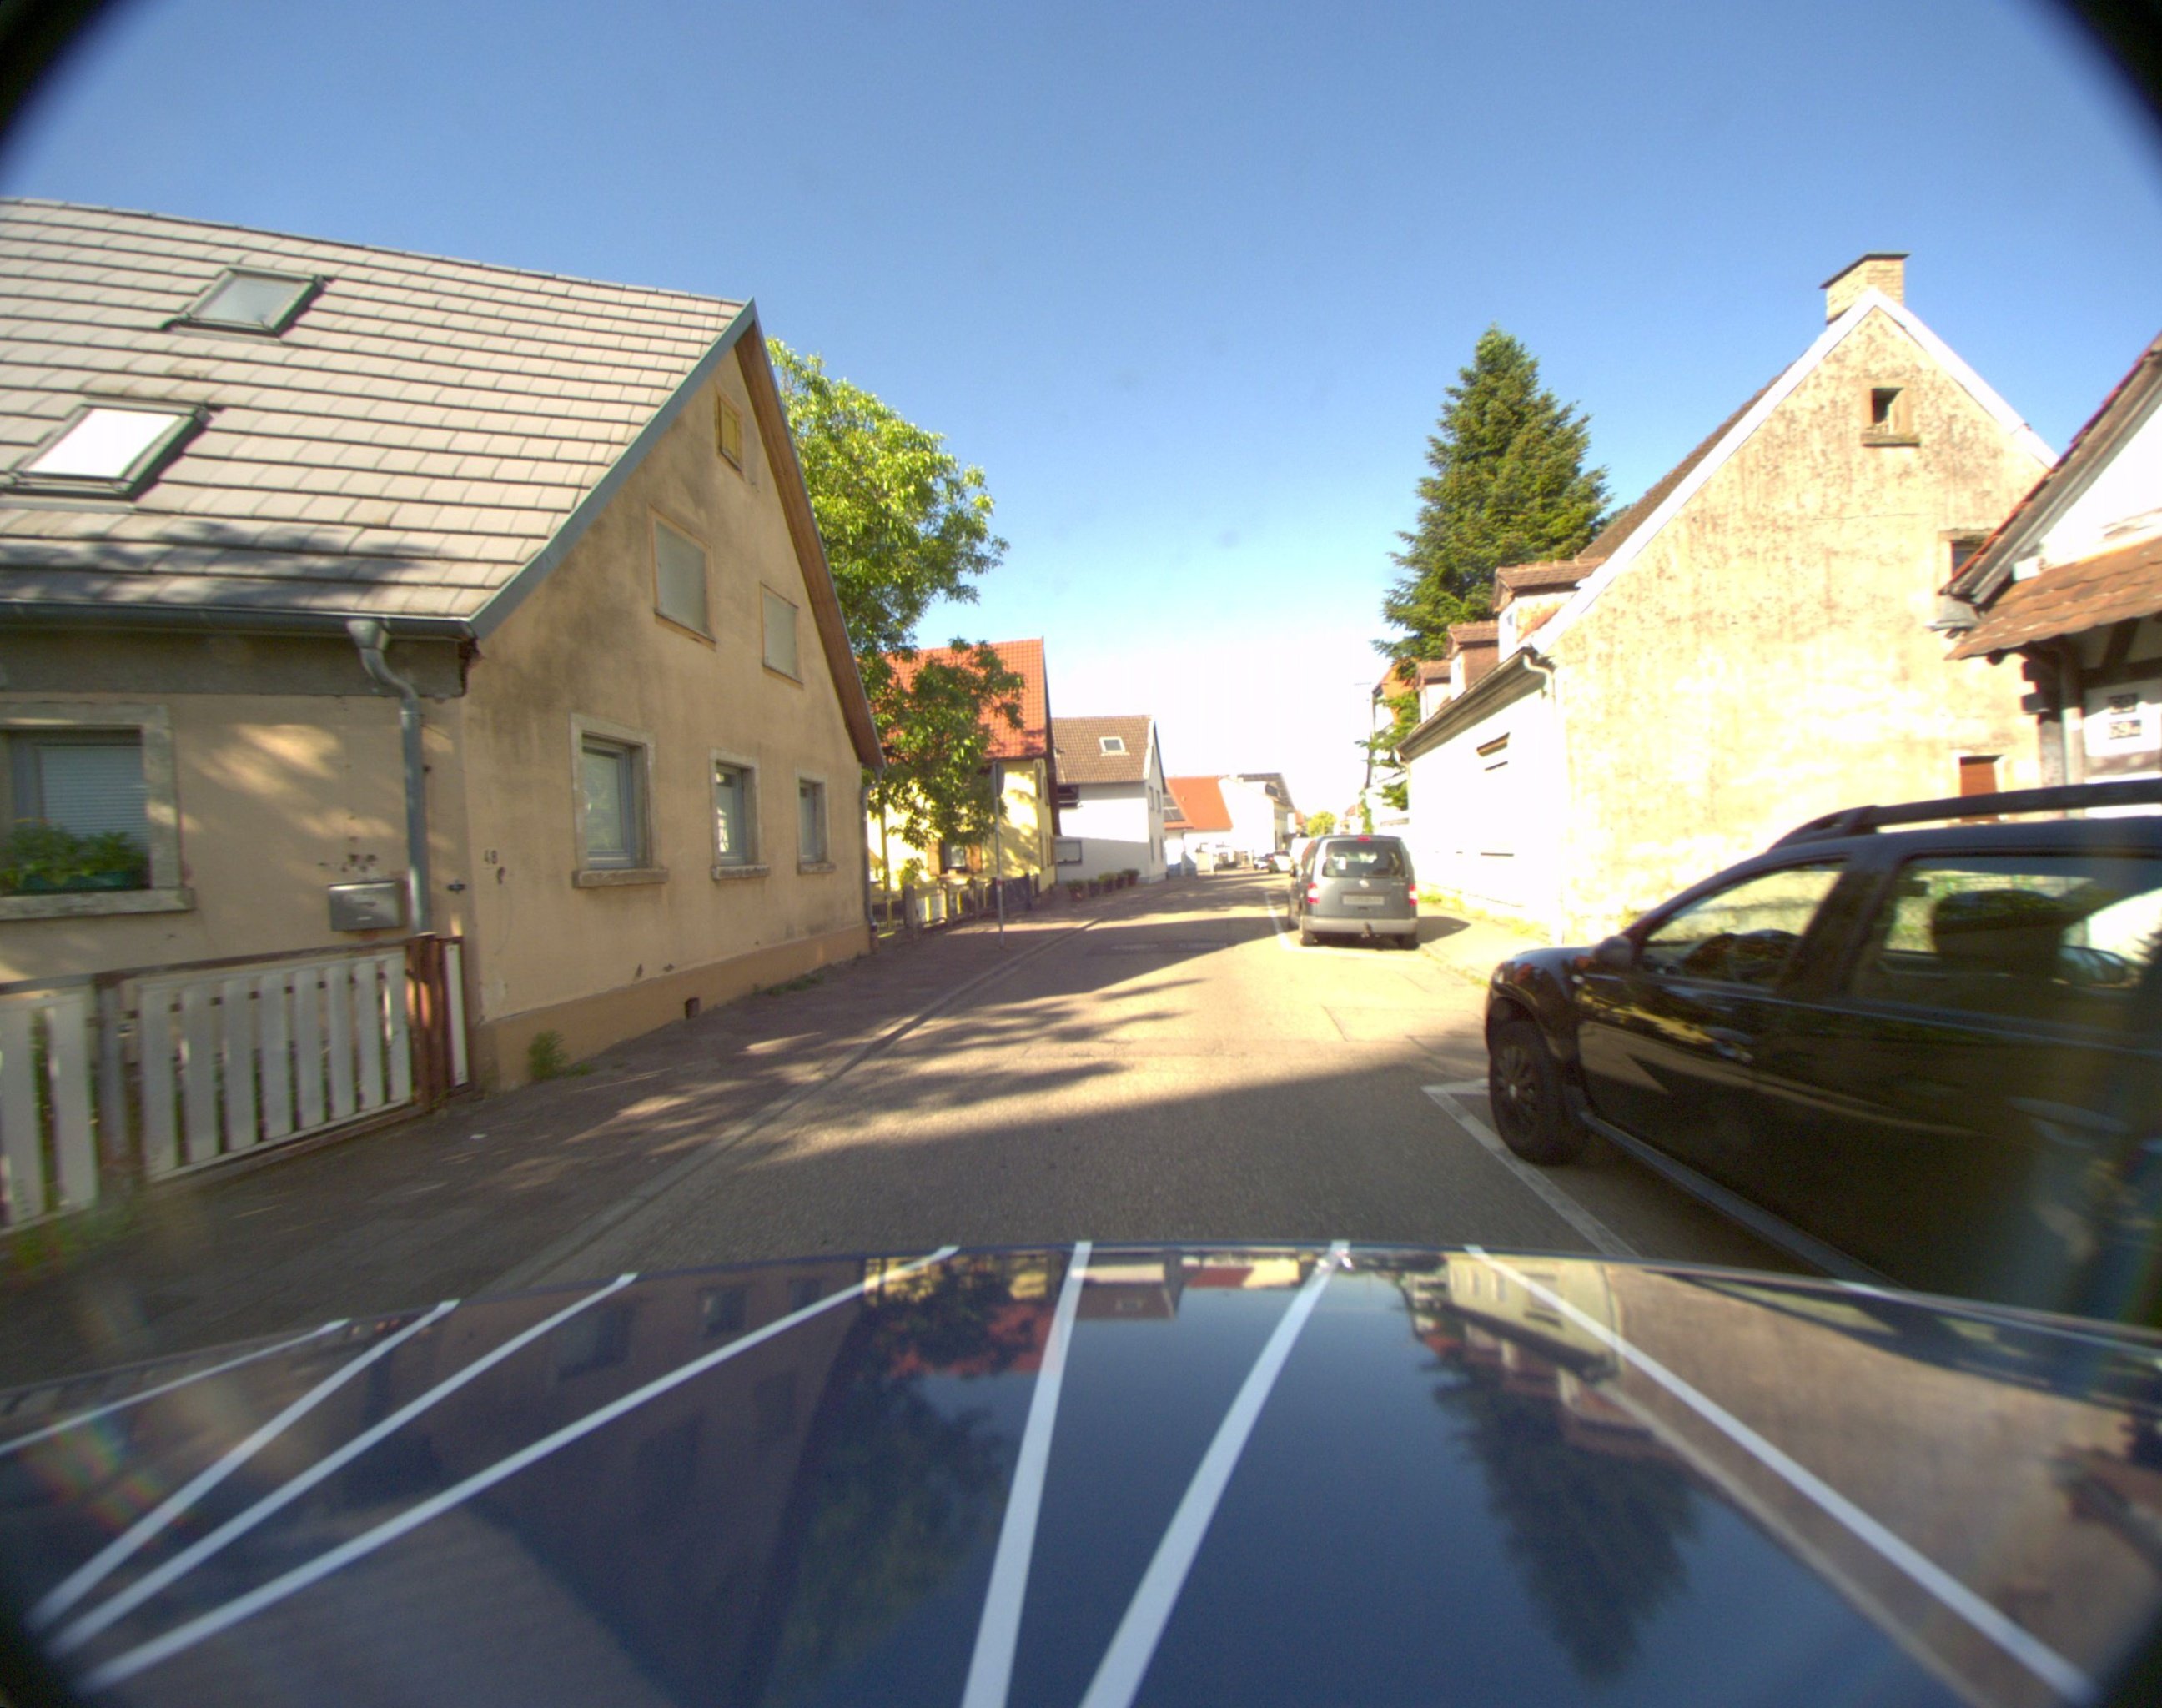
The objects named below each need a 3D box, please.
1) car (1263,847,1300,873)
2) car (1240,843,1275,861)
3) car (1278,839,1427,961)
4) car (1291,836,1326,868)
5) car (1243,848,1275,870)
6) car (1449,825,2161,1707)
[{"bbox_3d":[13.556,0.369,51.185,1.891,1.581,4.005,-2,1,22],"label":"car"},{"bbox_3d":[21.323,-0.263,91.760,3.992,2.002,1.843,-3,0,16],"label":"car"},{"bbox_3d":[4.556,0.658,13.373,1.835,1.779,4.356,-1,1,11],"label":"car"},{"bbox_3d":[17.214,-0.171,57.380,2.057,2.233,4.866,-2,1,21],"label":"car"},{"bbox_3d":[14.732,0.400,62.781,1.805,1.469,4.349,-6,0,21],"label":"car"},{"bbox_3d":[2.861,0.759,2.164,1.836,1.661,4.353,-1,2,5],"label":"car"}]
